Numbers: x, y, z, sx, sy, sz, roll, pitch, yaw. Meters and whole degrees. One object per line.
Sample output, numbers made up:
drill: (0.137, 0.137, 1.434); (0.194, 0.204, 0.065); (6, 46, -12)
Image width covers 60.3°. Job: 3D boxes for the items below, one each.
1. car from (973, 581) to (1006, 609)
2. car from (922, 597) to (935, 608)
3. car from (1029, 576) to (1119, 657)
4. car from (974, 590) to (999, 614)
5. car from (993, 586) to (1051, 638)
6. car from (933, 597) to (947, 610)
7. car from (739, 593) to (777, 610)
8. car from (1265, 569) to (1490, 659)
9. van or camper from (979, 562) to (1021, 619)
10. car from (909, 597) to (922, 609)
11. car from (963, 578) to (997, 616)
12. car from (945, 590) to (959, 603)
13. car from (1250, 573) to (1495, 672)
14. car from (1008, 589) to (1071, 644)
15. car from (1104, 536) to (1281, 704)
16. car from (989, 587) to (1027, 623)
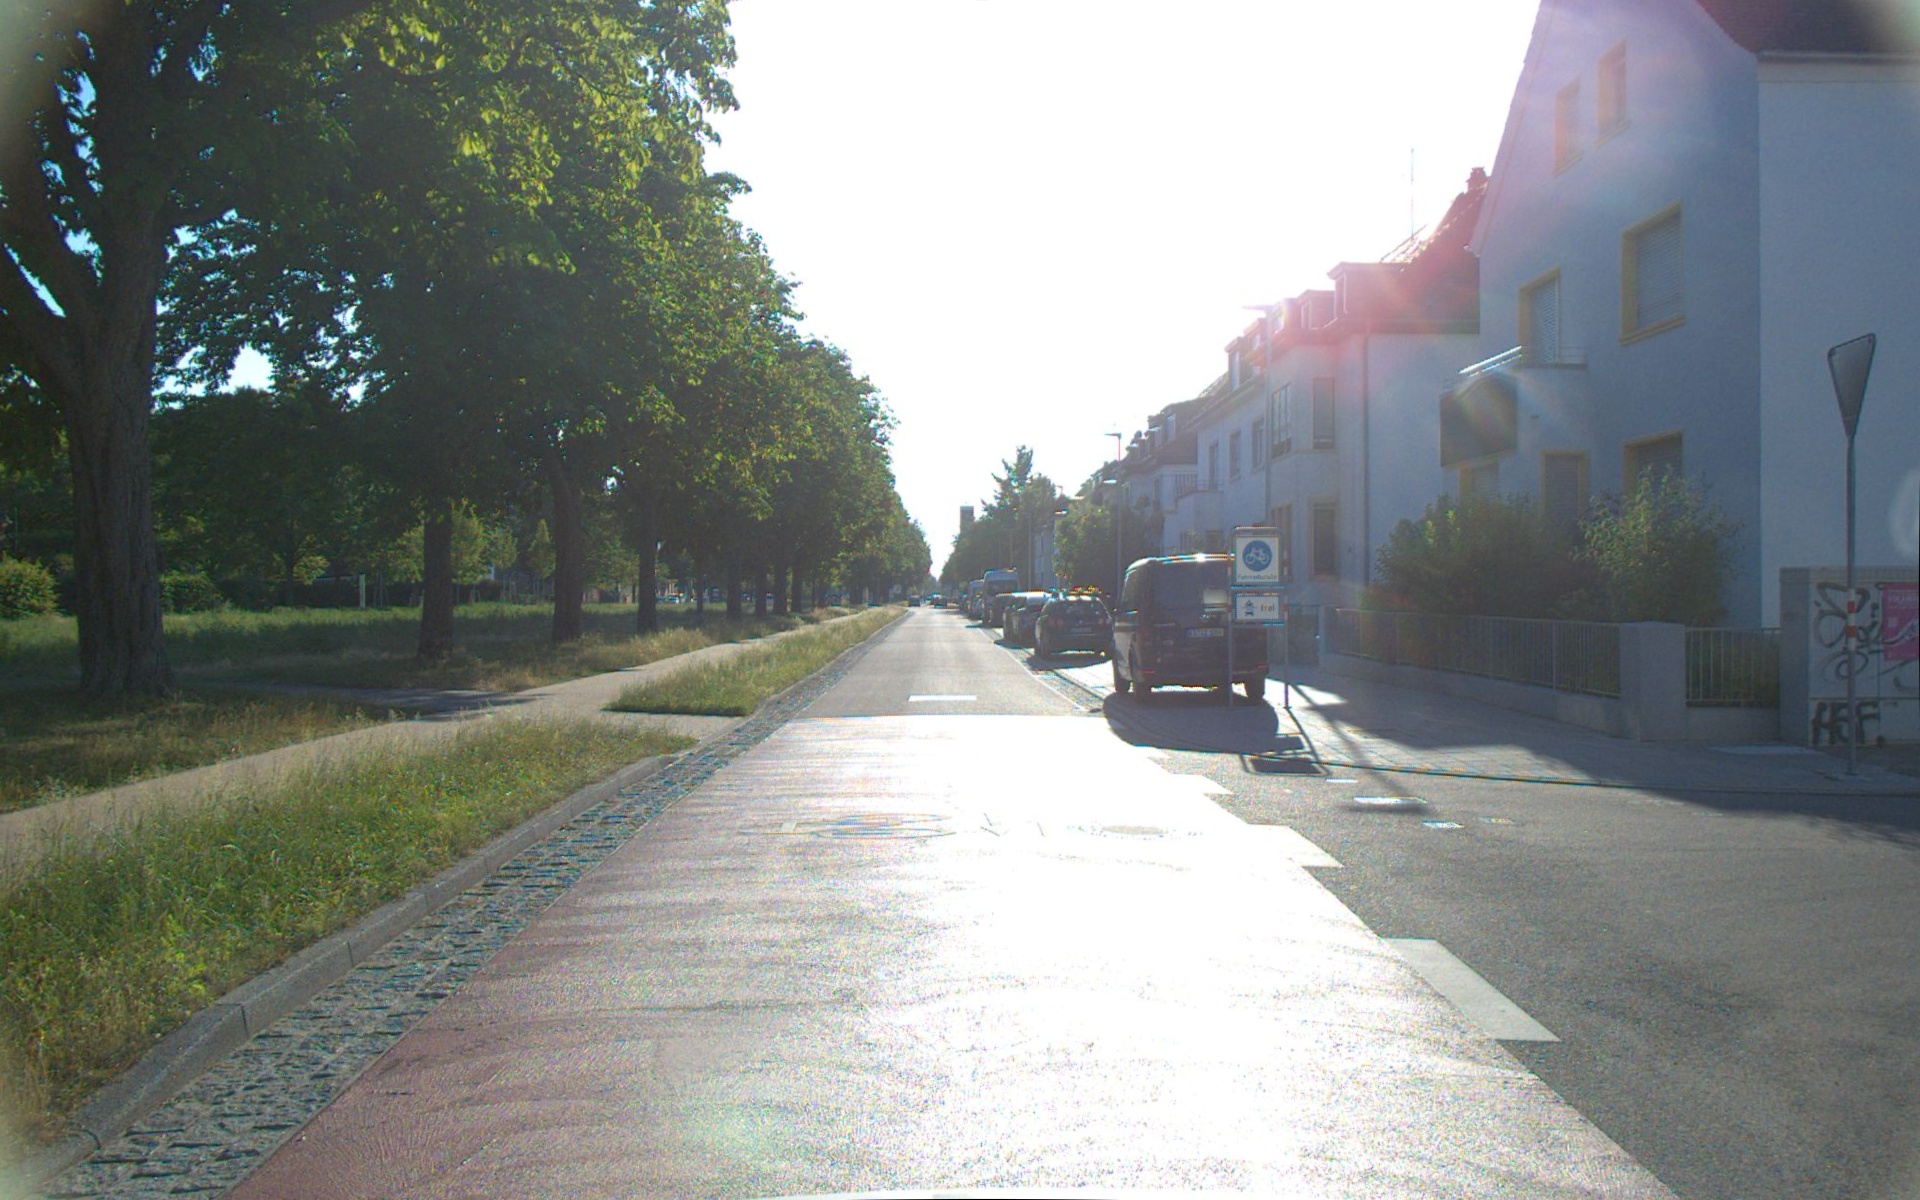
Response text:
car: (1.845, -0.319, 104.358); (1.800, 1.664, 4.129); (-1, 0, -2)
car: (-4.782, 0.352, 252.227); (1.825, 1.625, 3.868); (1, -1, -2)
car: (2.738, 0.377, 40.600); (1.757, 1.802, 4.471); (-2, 0, -1)
car: (1.744, 0.137, 109.926); (1.616, 1.557, 3.851); (-1, 0, 0)
car: (2.145, 0.396, 58.423); (1.795, 1.714, 4.414); (2, 1, -1)
car: (-2.667, 0.498, 222.046); (1.825, 1.625, 3.892); (1, 0, -2)
car: (-23.000, 0.202, 188.153); (4.266, 1.795, 1.996); (1, -1, -10)
car: (8.578, 0.281, 34.169); (4.134, 1.756, 1.851); (-1, 0, -5)
van or camper: (2.051, -0.448, 85.810); (1.904, 2.826, 5.938); (1, -1, -1)
car: (-6.243, 0.430, 230.624); (1.825, 1.625, 3.868); (1, -1, -2)
car: (1.371, -0.220, 115.914); (2.084, 2.577, 5.185); (-1, 0, -3)
car: (-0.970, -0.397, 203.560); (1.616, 1.557, 3.851); (-1, 0, 0)
car: (7.764, 0.424, 31.364); (4.134, 1.756, 1.851); (1, -1, -5)
car: (2.482, 0.510, 52.435); (1.683, 1.601, 4.209); (-2, 0, -1)
car: (3.300, 0.255, 24.399); (1.867, 2.169, 4.814); (-2, 0, 0)
car: (2.281, 0.236, 79.320); (1.630, 1.621, 4.085); (1, 0, -1)
